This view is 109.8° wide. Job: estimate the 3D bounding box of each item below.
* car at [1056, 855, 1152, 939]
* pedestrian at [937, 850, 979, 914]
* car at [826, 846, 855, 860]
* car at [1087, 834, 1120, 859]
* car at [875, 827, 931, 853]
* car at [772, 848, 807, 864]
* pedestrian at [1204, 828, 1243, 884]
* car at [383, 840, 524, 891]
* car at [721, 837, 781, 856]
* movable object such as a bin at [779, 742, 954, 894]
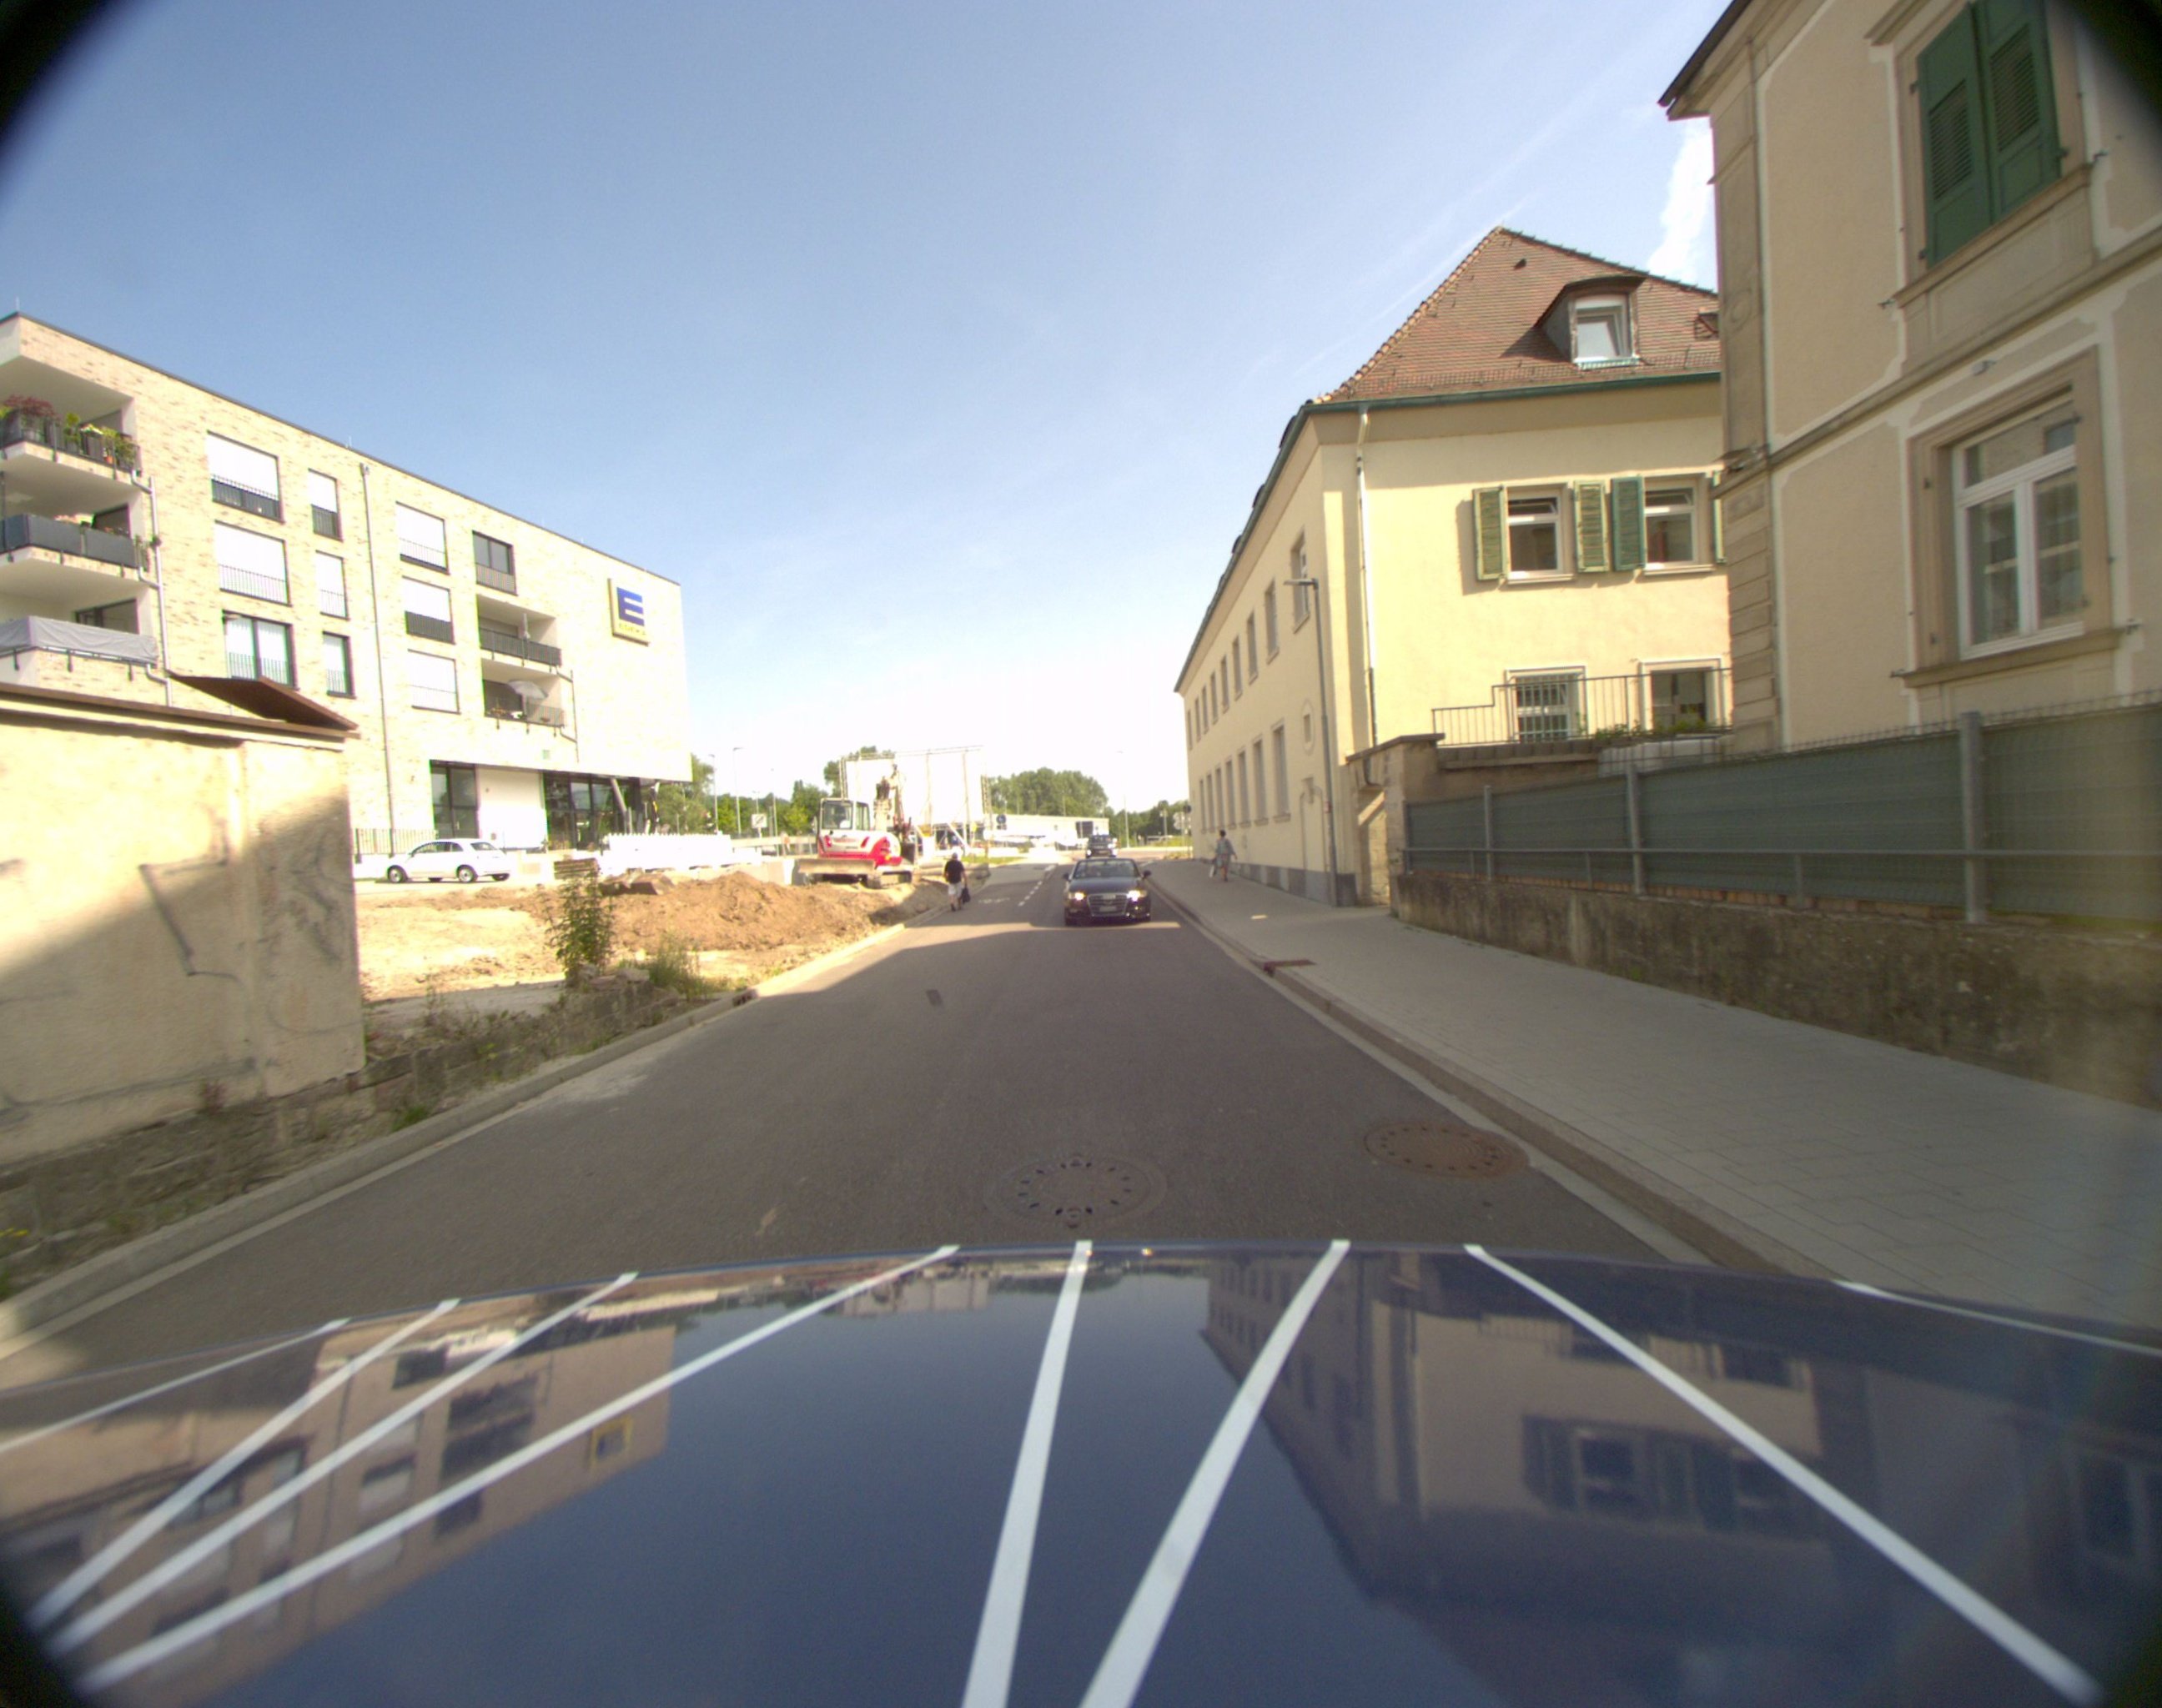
[{"bbox_3d":[0.533,0.806,16.180,1.721,1.315,4.223,-2,2,3],"label":"car"},{"bbox_3d":[-3.452,0.782,21.354,0.890,1.674,0.718,-5,2,1],"label":"pedestrian"},{"bbox_3d":[-32.014,-0.160,101.131,1.663,1.564,3.791,-6,0,18],"label":"car"},{"bbox_3d":[1.439,-0.493,47.145,1.641,1.385,4.230,-3,2,7],"label":"car"},{"bbox_3d":[-20.937,-1.667,89.506,6.080,2.369,2.063,-6,0,21],"label":"car"},{"bbox_3d":[-34.294,0.242,89.501,1.760,1.564,3.791,-6,0,18],"label":"car"},{"bbox_3d":[4.396,0.054,23.484,0.960,1.622,0.758,-4,2,1],"label":"pedestrian"},{"bbox_3d":[-21.459,0.369,26.059,3.413,1.487,1.594,-2,3,1],"label":"car"},{"bbox_3d":[-29.396,-0.615,67.633,4.812,1.546,1.861,-1,-1,17],"label":"car"},{"bbox_3d":[-6.362,-1.049,24.118,2.300,3.832,7.799,-6,1,5],"label":"movable object such as a bin"}]
